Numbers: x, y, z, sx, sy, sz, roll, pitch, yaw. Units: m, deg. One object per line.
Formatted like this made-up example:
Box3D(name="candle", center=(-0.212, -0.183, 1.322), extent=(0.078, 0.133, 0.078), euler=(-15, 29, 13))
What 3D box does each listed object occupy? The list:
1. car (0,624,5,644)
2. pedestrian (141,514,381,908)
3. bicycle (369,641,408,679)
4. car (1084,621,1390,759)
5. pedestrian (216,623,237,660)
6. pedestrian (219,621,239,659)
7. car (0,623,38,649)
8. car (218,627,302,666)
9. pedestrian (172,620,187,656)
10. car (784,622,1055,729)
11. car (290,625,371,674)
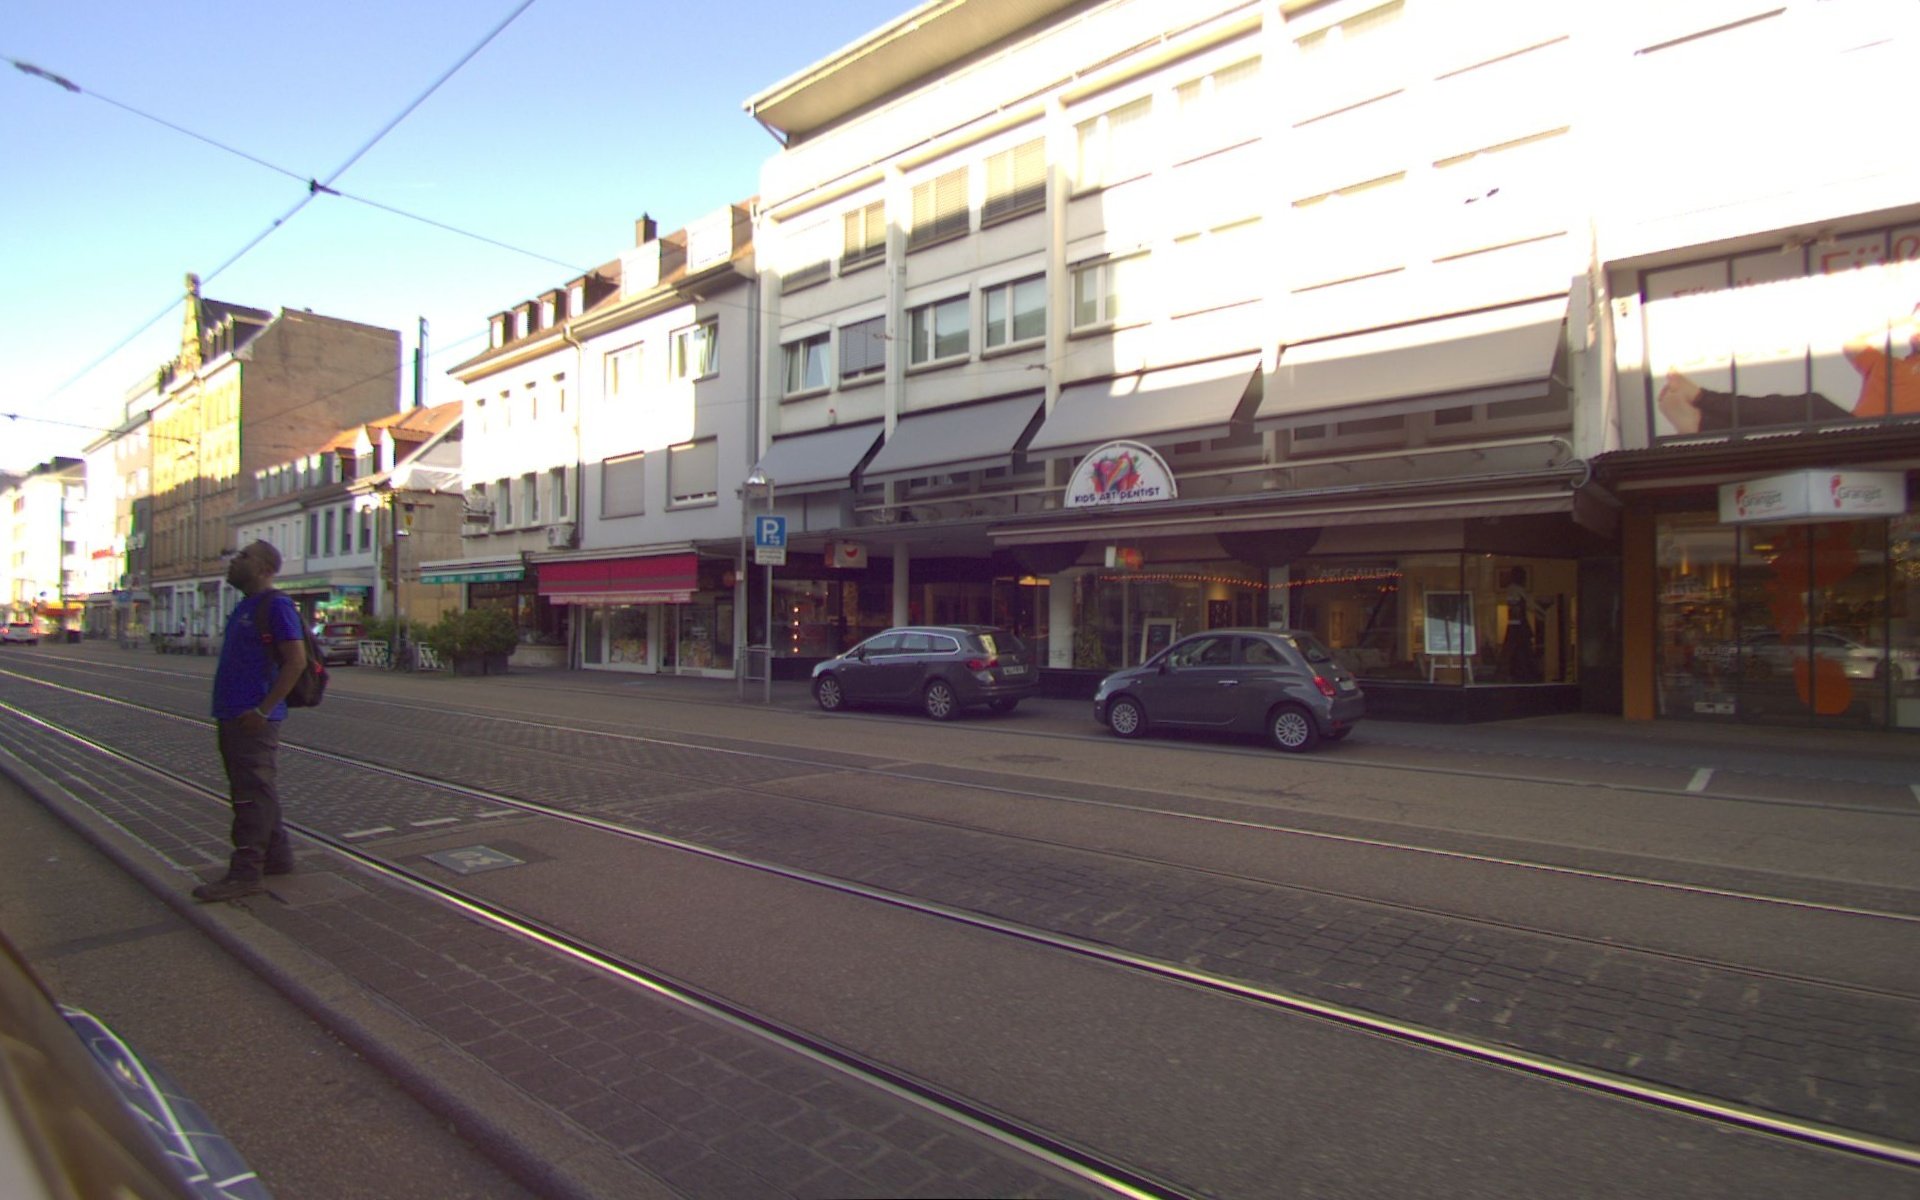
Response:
Box3D(name="car", center=(-74.736, 2.597, 77.693), extent=(3.998, 1.542, 1.645), euler=(-1, -3, 41))
Box3D(name="pedestrian", center=(-3.665, 0.537, 5.322), extent=(0.746, 1.851, 0.796), euler=(-1, -3, 39))
Box3D(name="bicycle", center=(-17.575, 1.822, 31.111), extent=(1.715, 1.098, 0.513), euler=(-1, 0, 41))
Box3D(name="car", center=(3.610, 1.076, 13.454), extent=(3.585, 1.535, 1.585), euler=(-1, 0, 39))
Box3D(name="pedestrian", center=(-35.850, 2.035, 49.459), extent=(0.580, 1.775, 0.651), euler=(-1, 0, 33))
Box3D(name="pedestrian", center=(-36.337, 1.989, 50.296), extent=(0.647, 1.863, 0.584), euler=(-1, 0, -19))
Box3D(name="car", center=(-62.374, 2.332, 66.787), extent=(3.674, 1.647, 1.779), euler=(-1, -2, 41))
Box3D(name="car", center=(-29.522, 1.913, 42.601), extent=(4.760, 1.526, 1.798), euler=(-1, -1, 41))
Box3D(name="pedestrian", center=(-40.451, 1.966, 52.455), extent=(0.572, 1.819, 0.660), euler=(-1, 0, -37))
Box3D(name="car", center=(-0.828, 1.183, 17.510), extent=(4.850, 1.535, 1.719), euler=(-1, 0, 42))
Box3D(name="car", center=(-22.586, 1.733, 36.294), extent=(2.890, 1.616, 1.679), euler=(-1, 0, 41))
